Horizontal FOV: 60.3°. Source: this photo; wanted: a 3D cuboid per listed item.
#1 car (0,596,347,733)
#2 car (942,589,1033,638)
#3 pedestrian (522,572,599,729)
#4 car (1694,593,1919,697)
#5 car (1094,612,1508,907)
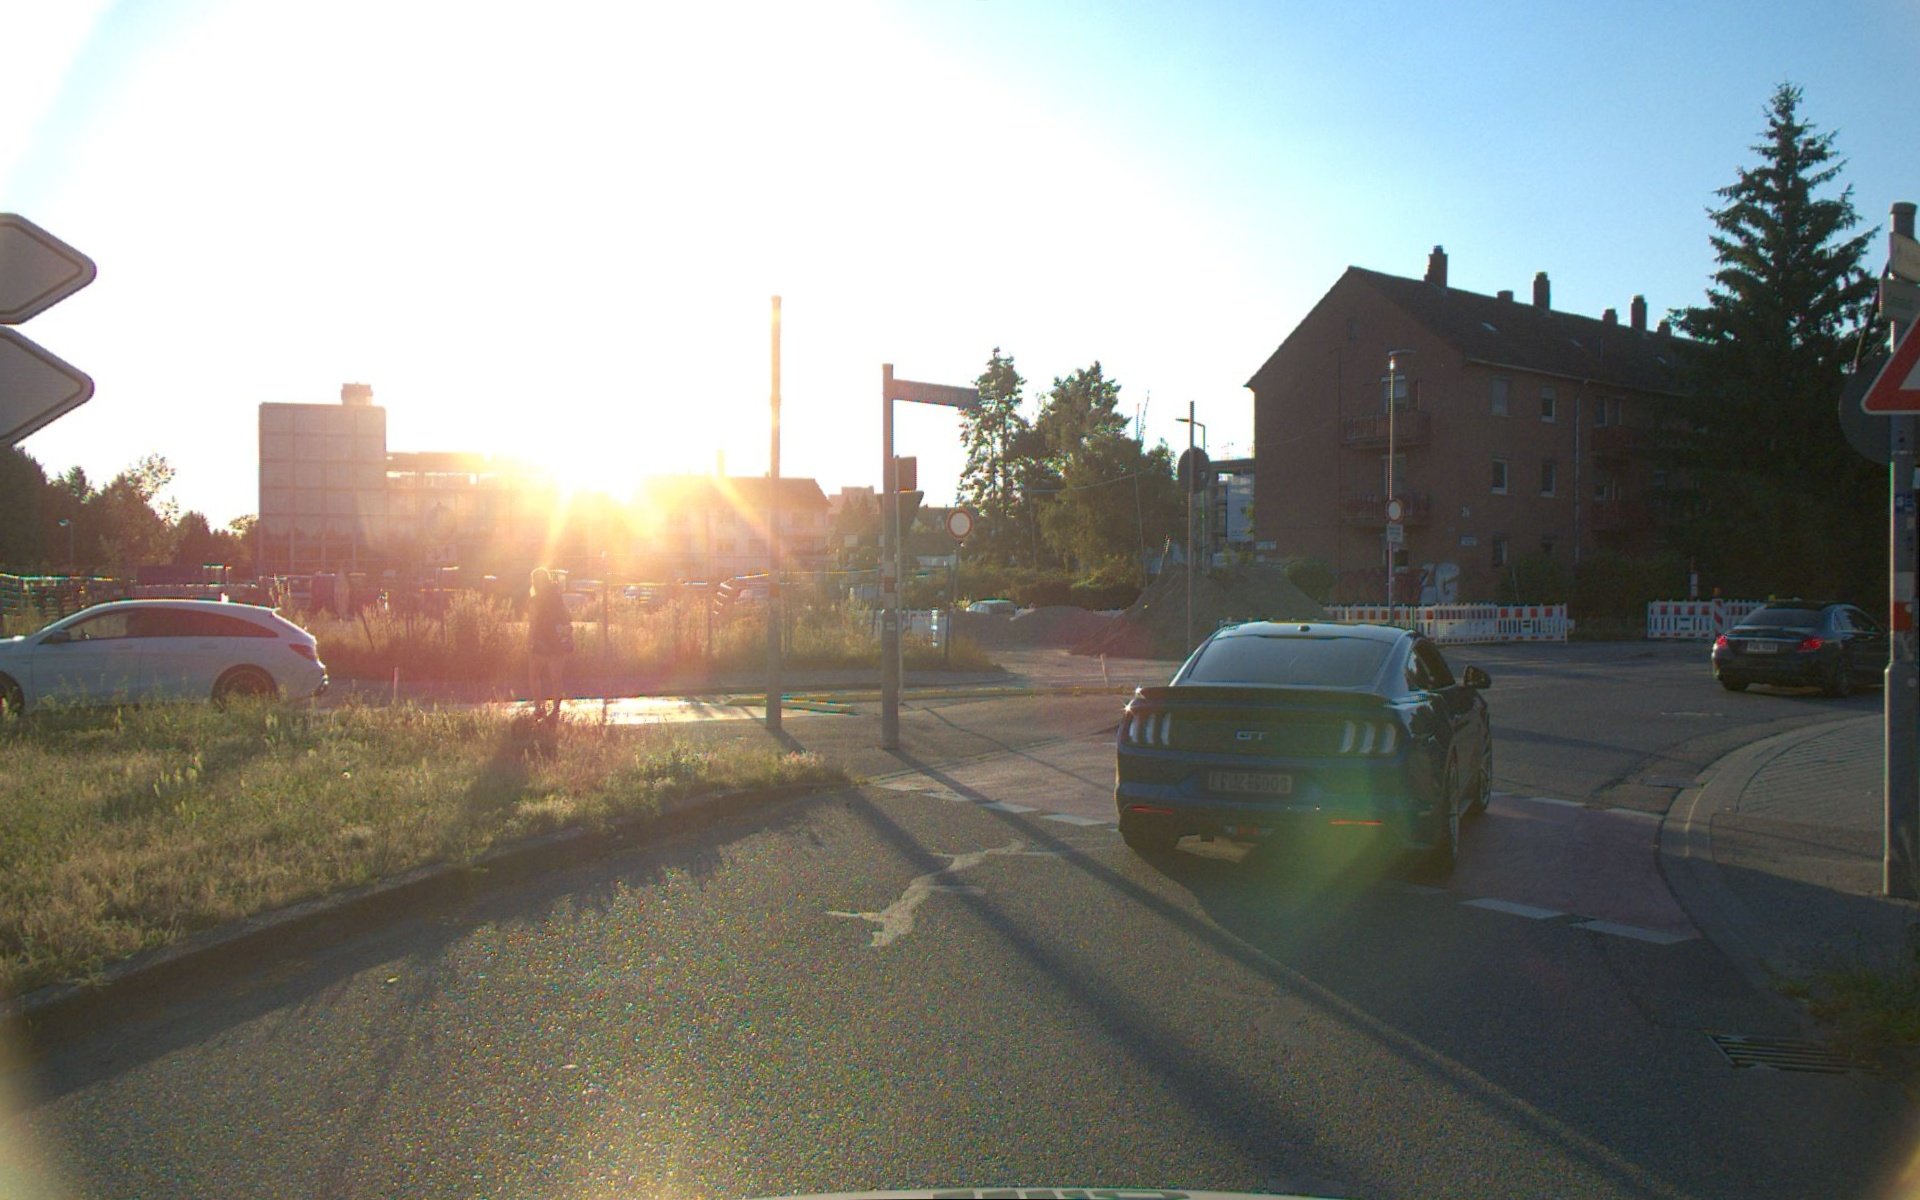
[{"bbox_3d":[-9.959,0.712,19.903,4.593,1.478,2.054,-1,0,-31],"label":"car"},{"bbox_3d":[0.969,0.477,60.657,1.966,1.736,3.972,0,0,-23],"label":"car"},{"bbox_3d":[-4.518,0.548,18.675,0.829,1.716,0.883,0,0,-15],"label":"pedestrian"},{"bbox_3d":[13.748,0.654,26.658,4.393,1.451,1.928,-1,2,-43],"label":"car"},{"bbox_3d":[2.427,0.803,10.647,1.911,1.365,4.671,1,0,20],"label":"car"}]
